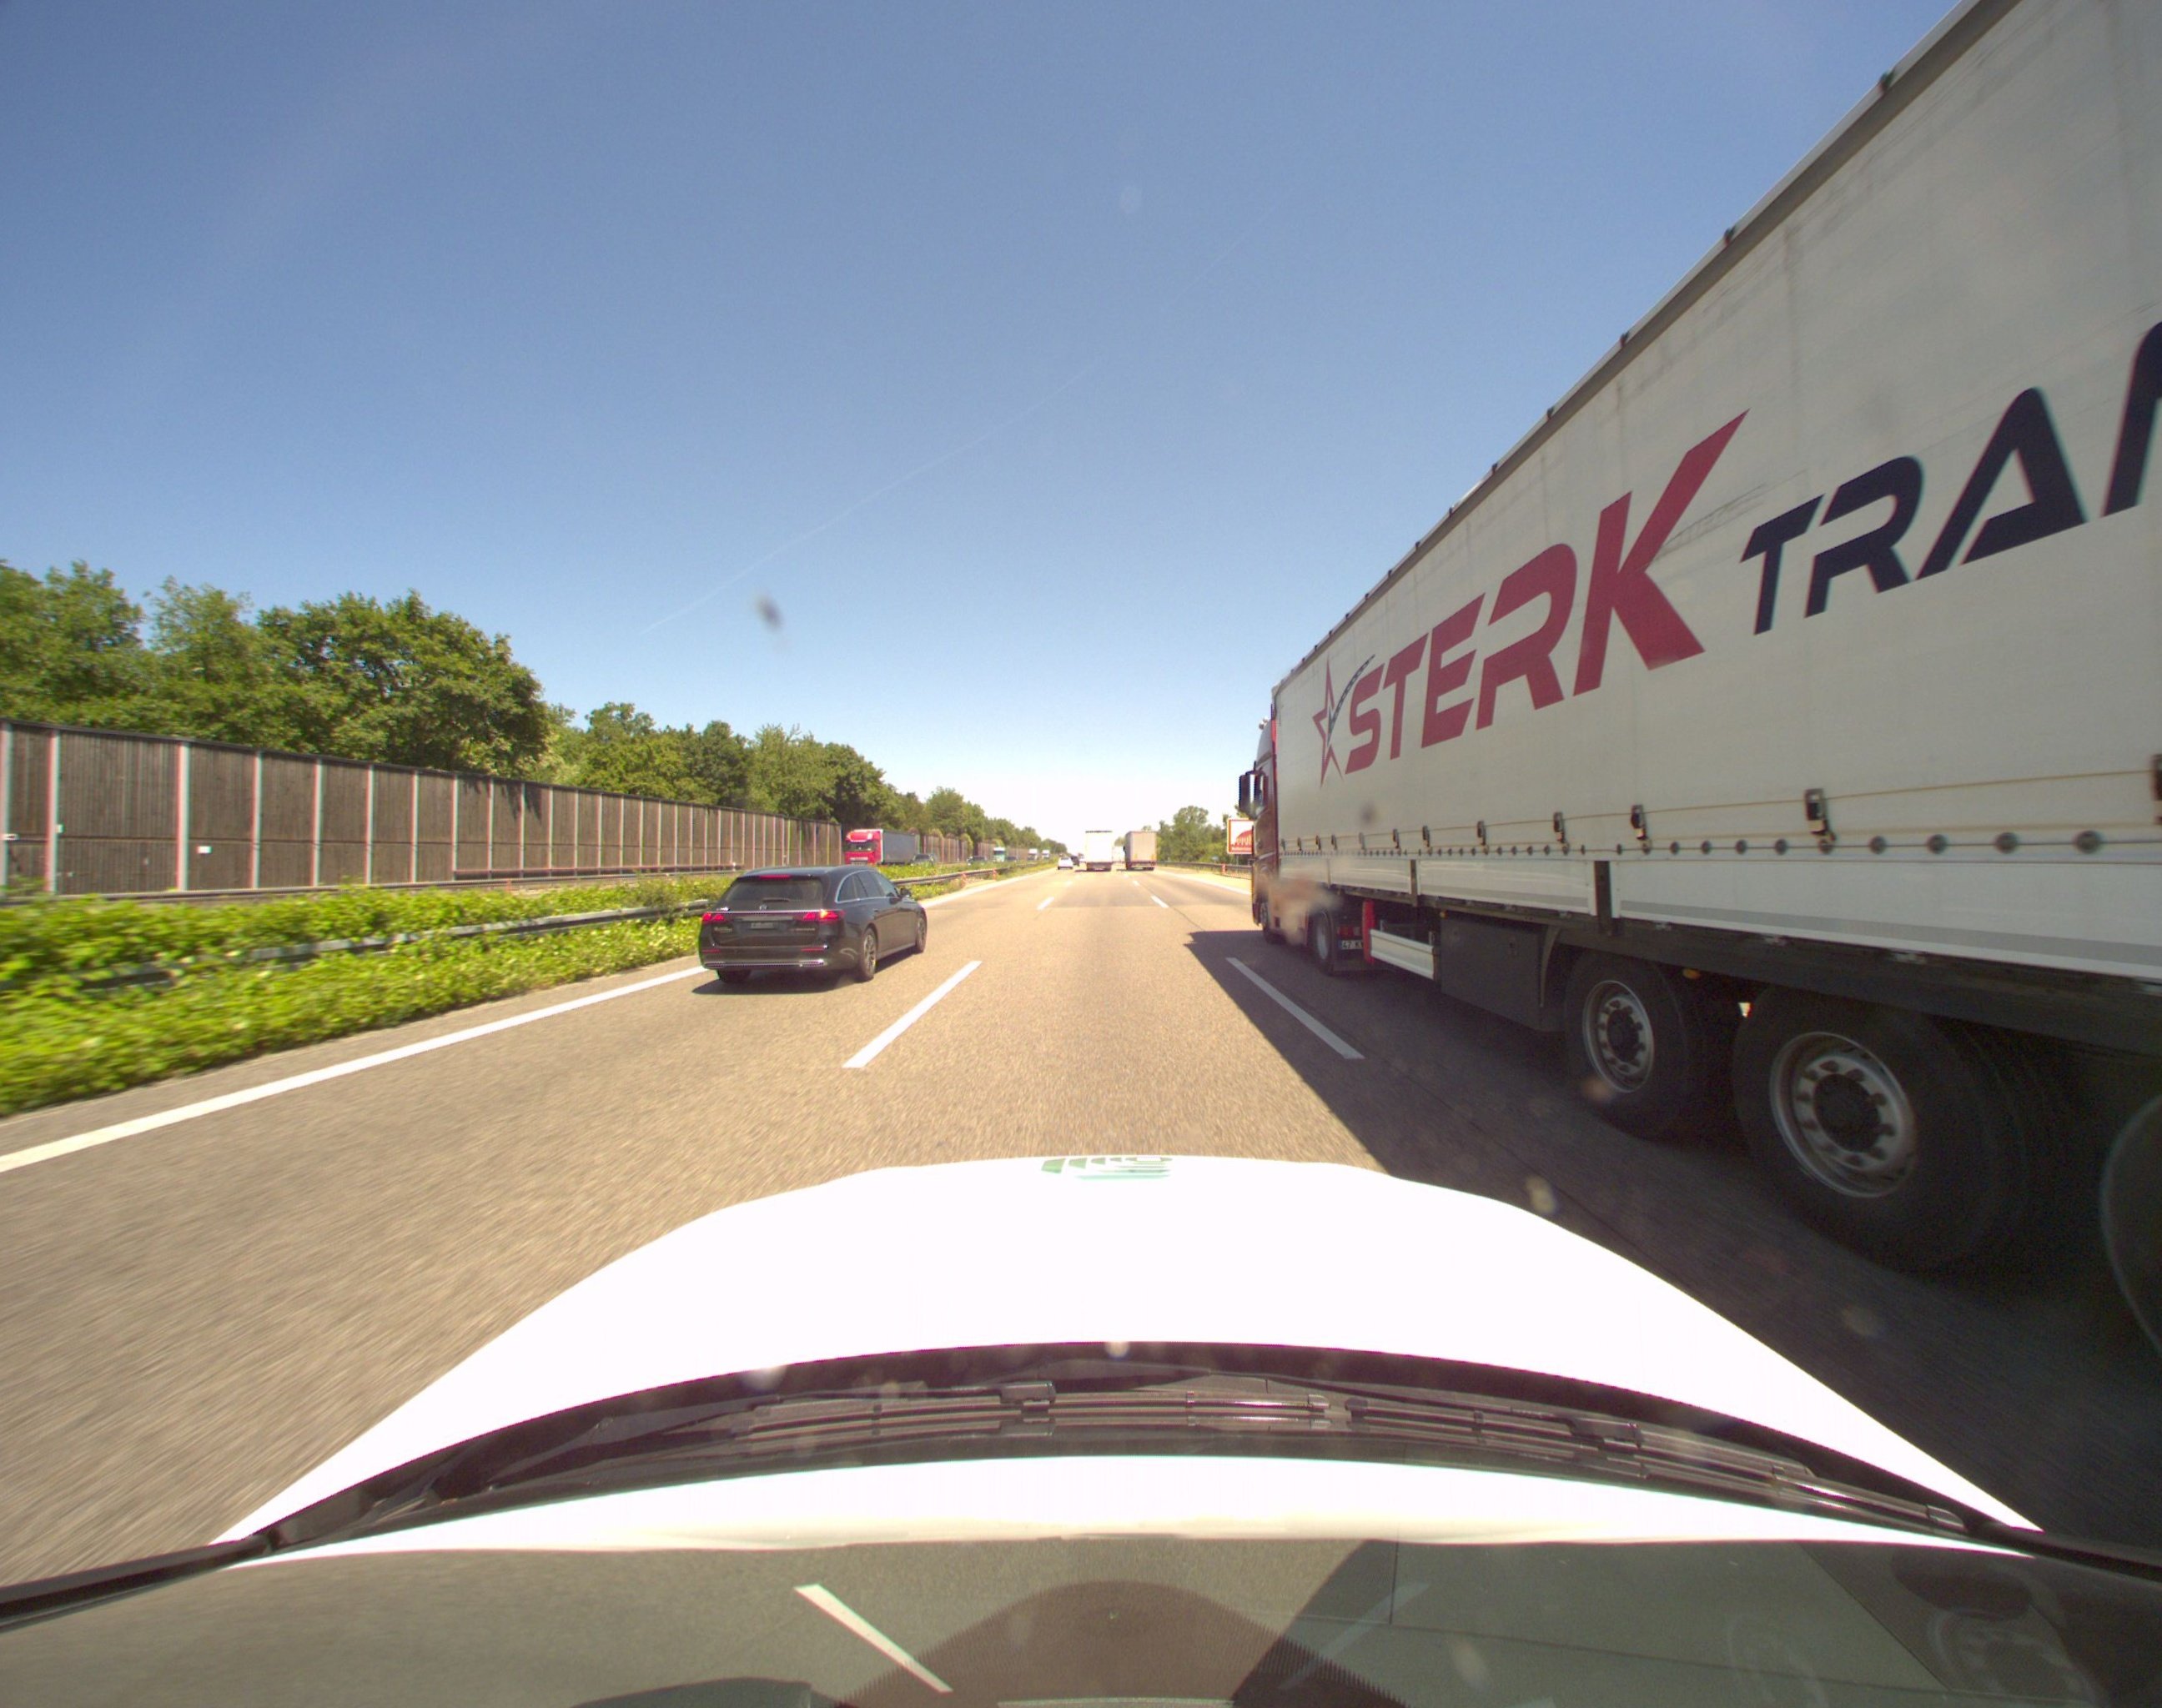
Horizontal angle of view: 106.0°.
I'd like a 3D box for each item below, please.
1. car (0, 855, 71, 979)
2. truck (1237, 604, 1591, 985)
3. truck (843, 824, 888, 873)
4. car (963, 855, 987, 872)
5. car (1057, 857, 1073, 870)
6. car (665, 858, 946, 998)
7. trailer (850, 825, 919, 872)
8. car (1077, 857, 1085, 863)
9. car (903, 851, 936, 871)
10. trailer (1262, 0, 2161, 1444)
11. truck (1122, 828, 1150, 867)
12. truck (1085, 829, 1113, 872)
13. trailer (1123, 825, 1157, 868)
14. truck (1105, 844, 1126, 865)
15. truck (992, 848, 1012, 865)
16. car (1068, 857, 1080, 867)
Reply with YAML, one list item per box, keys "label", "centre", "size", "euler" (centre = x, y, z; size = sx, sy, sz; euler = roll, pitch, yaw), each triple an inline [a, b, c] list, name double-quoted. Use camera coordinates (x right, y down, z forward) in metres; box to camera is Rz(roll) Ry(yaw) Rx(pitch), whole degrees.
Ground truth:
- label: "car"
  centre: [-12.709, 0.694, 7.521]
  size: [1.700, 1.355, 4.002]
  euler: [-1, 0, 2]
- label: "truck"
  centre: [4.250, -0.630, 12.275]
  size: [2.696, 4.088, 6.968]
  euler: [0, 0, 2]
- label: "truck"
  centre: [-18.942, -0.449, 71.868]
  size: [2.477, 4.087, 4.680]
  euler: [-1, 0, 2]
- label: "car"
  centre: [-11.294, 1.011, 87.141]
  size: [1.986, 1.720, 4.246]
  euler: [-1, 0, 1]
- label: "car"
  centre: [-1.951, 1.127, 98.978]
  size: [1.850, 1.486, 3.998]
  euler: [-1, 0, -1]
- label: "car"
  centre: [-3.536, 0.832, 11.917]
  size: [1.936, 1.506, 5.823]
  euler: [-1, 0, 2]
- label: "trailer"
  centre: [-18.646, -0.420, 78.560]
  size: [2.486, 4.087, 14.279]
  euler: [-1, 0, 3]
- label: "car"
  centre: [-0.003, 1.482, 207.307]
  size: [1.850, 1.617, 3.997]
  euler: [-1, 0, -2]
- label: "car"
  centre: [-15.421, 0.670, 78.164]
  size: [1.986, 1.816, 5.221]
  euler: [-1, 0, 1]
- label: "trailer"
  centre: [4.041, -0.635, 5.982]
  size: [2.697, 4.088, 14.156]
  euler: [0, 0, 2]
- label: "truck"
  centre: [6.204, -0.710, 92.337]
  size: [2.682, 4.215, 7.837]
  euler: [0, 0, 0]
- label: "truck"
  centre: [1.791, -0.280, 85.371]
  size: [2.698, 4.086, 13.472]
  euler: [0, 0, 0]
- label: "trailer"
  centre: [6.160, -0.741, 86.453]
  size: [2.694, 4.216, 13.210]
  euler: [0, 0, 0]
- label: "truck"
  centre: [7.319, 0.094, 172.565]
  size: [3.365, 4.303, 11.440]
  euler: [2, 0, -2]
- label: "truck"
  centre: [-17.716, 0.630, 183.373]
  size: [3.079, 3.675, 12.367]
  euler: [-1, 0, 0]
- label: "car"
  centre: [-1.095, 1.224, 129.942]
  size: [1.849, 1.617, 3.999]
  euler: [-1, 0, 0]
